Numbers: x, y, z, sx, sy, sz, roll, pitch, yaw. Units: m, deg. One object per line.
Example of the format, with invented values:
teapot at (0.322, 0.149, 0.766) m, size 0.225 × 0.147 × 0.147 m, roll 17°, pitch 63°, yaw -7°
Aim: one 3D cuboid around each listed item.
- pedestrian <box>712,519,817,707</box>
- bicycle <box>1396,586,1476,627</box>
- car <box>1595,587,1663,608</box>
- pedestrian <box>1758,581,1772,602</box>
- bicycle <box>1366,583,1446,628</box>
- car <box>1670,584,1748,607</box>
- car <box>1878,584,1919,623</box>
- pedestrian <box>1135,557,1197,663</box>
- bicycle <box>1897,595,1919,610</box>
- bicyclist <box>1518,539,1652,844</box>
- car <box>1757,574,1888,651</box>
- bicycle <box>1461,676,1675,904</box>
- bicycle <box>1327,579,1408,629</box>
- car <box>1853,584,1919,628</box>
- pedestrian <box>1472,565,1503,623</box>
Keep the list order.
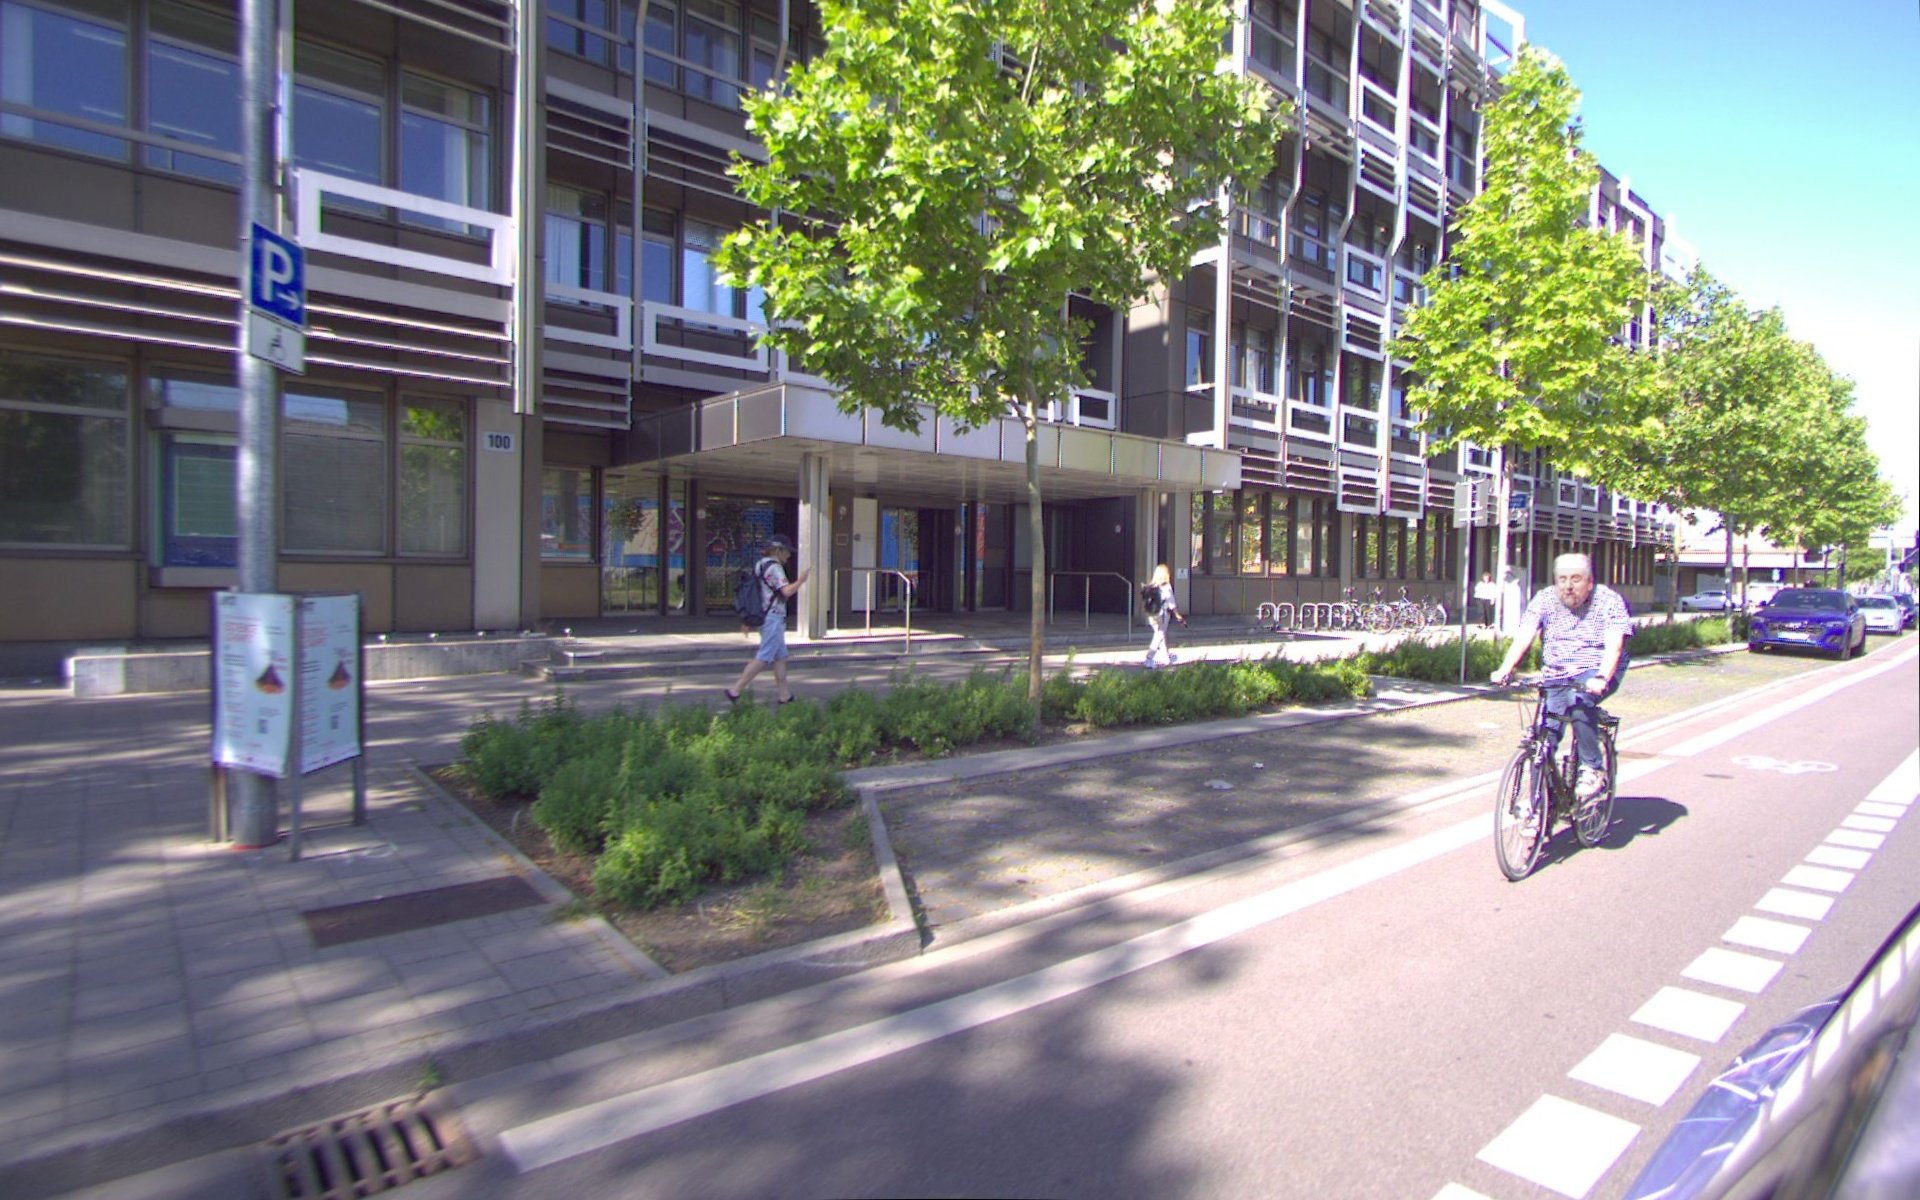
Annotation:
pedestrian at (-1.915, 0.114, 9.903) m, size 0.789 × 1.749 × 0.649 m, roll 0°, pitch 1°, yaw -40°
bicycle at (12.480, 0.158, 26.581) m, size 0.419 × 0.950 × 1.864 m, roll 0°, pitch 4°, yaw -38°
car at (49.446, -0.196, 74.871) m, size 4.164 × 1.412 × 1.538 m, roll 2°, pitch 0°, yaw 35°
pedestrian at (55.755, -0.597, 70.091) m, size 0.679 × 1.468 × 0.536 m, roll 1°, pitch 1°, yaw 37°
bicycle at (11.380, 0.131, 25.899) m, size 0.419 × 1.023 × 1.864 m, roll 0°, pitch 4°, yaw -38°
car at (53.145, -0.339, 71.931) m, size 4.379 × 1.563 × 1.830 m, roll 2°, pitch 2°, yaw 35°
car at (42.883, 0.110, 45.851) m, size 1.748 × 1.679 × 4.399 m, roll 2°, pitch 2°, yaw 44°
pedestrian at (3.017, 0.136, 14.827) m, size 0.723 × 1.492 × 0.512 m, roll 0°, pitch 3°, yaw -40°
bicycle at (74.359, 0.219, 78.749) m, size 2.049 × 1.133 × 0.594 m, roll 4°, pitch 4°, yaw 42°
bicyclist at (3.547, 0.478, 5.744) m, size 0.527 × 1.621 × 0.513 m, roll 0°, pitch 1°, yaw -44°
car at (21.493, 0.254, 25.161) m, size 4.766 × 1.677 × 1.852 m, roll 0°, pitch 3°, yaw -43°
bicycle at (3.480, 0.963, 5.689) m, size 2.160 × 0.917 × 0.498 m, roll 0°, pitch 0°, yaw -44°
bicycle at (10.074, 0.082, 25.102) m, size 0.419 × 1.111 × 1.864 m, roll 0°, pitch 4°, yaw -38°
car at (34.422, 0.192, 37.544) m, size 4.087 × 1.483 × 1.620 m, roll -1°, pitch 3°, yaw -45°
pedestrian at (15.250, -0.185, 29.258) m, size 0.662 × 1.642 × 0.512 m, roll 0°, pitch 3°, yaw -40°
